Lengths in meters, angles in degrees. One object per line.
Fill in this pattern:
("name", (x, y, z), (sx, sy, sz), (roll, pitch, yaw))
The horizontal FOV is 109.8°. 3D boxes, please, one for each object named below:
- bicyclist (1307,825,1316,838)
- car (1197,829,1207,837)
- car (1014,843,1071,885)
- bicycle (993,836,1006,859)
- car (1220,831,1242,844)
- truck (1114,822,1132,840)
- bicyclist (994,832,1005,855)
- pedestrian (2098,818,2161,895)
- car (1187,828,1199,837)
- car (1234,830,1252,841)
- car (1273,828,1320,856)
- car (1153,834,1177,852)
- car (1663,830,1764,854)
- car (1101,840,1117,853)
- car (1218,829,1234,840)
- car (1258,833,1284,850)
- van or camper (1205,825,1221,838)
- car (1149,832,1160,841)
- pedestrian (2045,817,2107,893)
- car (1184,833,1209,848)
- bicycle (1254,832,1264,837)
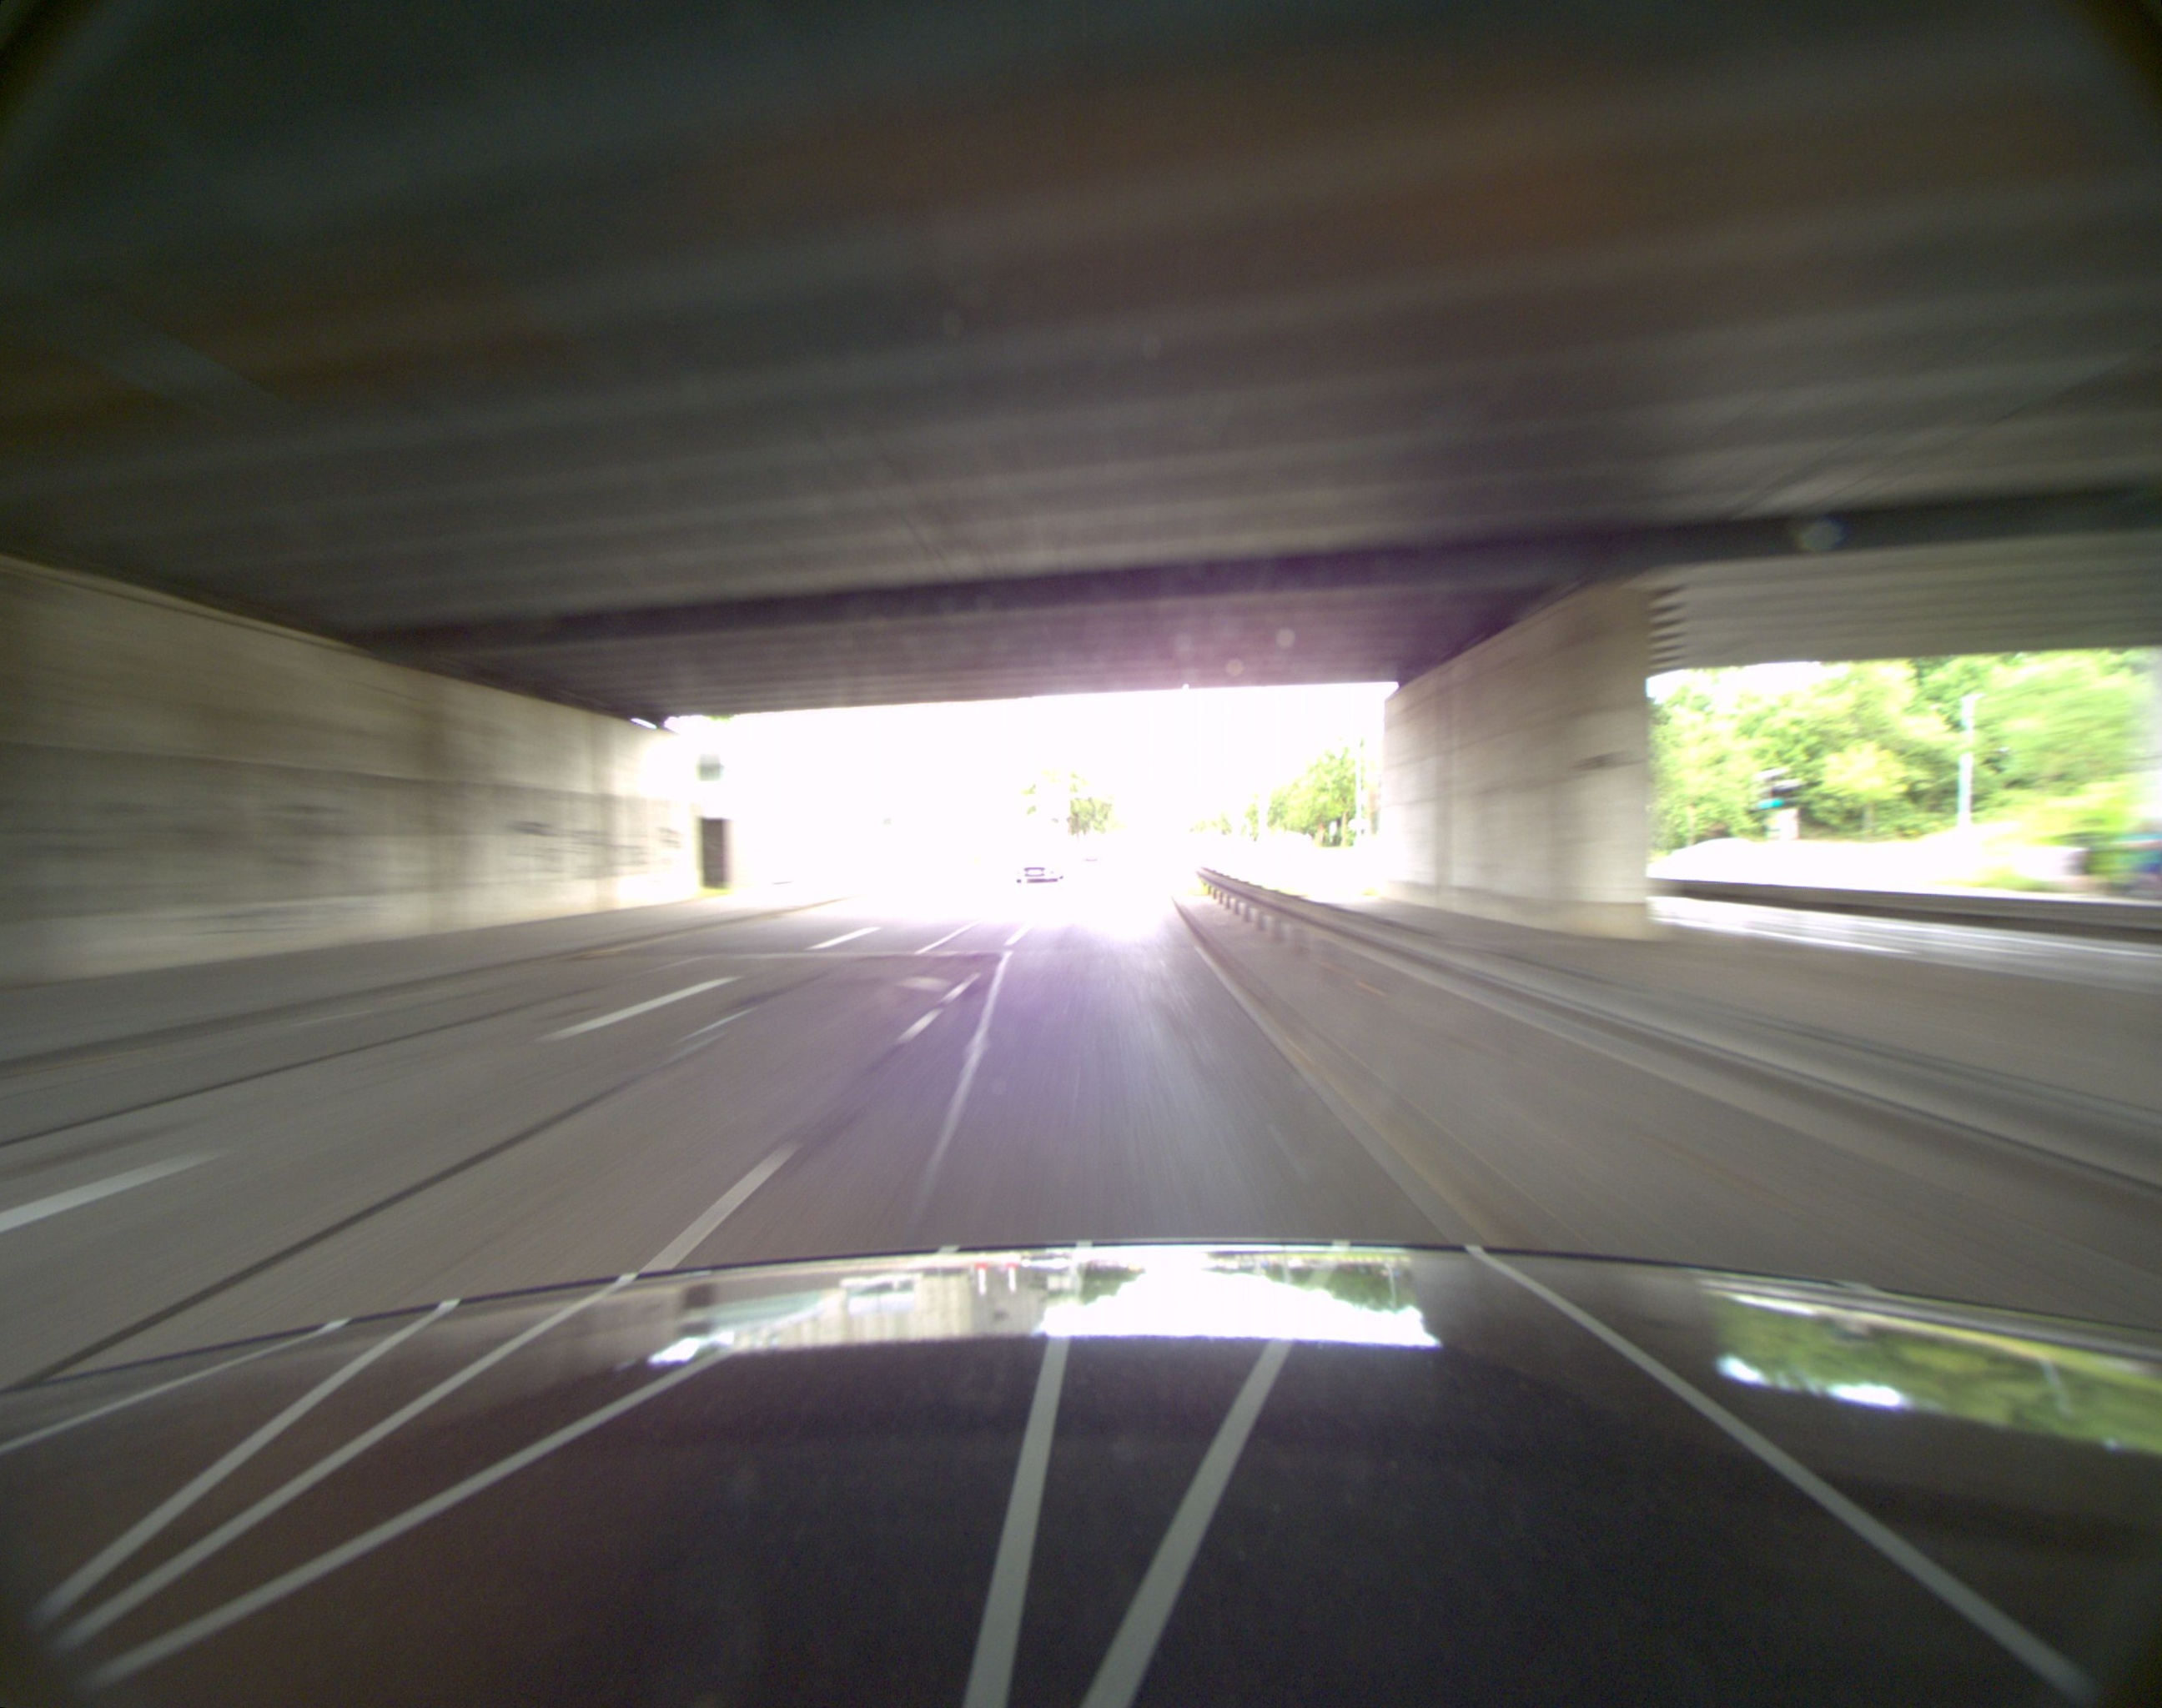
("bicyclist", (31.505, -3.078, 103.892), (0.894, 1.737, 0.997), (-2, 2, 8))
("car", (28.737, -5.057, 180.781), (1.998, 1.791, 4.409), (0, 2, 3))
("car", (-1.569, 0.366, 32.356), (1.823, 1.565, 3.954), (-3, 2, 5))
("bicycle", (-6.471, -0.556, 60.394), (0.721, 1.764, 2.533), (0, 2, 1))
("car", (17.075, -1.914, 86.558), (1.978, 1.381, 4.781), (0, 2, 5))
("truck", (7.703, -4.241, 138.971), (3.065, 3.096, 7.935), (0, 2, 5))
("bicyclist", (-6.483, -0.848, 60.239), (0.717, 1.759, 0.988), (-1, 2, 1))
("pedestrian", (22.646, 0.052, 16.403), (0.555, 1.616, 0.586), (-1, 2, 6))
("car", (25.341, -4.926, 171.904), (2.195, 1.953, 5.193), (0, 2, 3))
("car", (22.313, -2.587, 104.759), (1.930, 1.521, 4.000), (0, 3, 5))
("car", (14.294, -0.812, 50.629), (1.998, 1.749, 4.716), (-1, 2, 3))
("car", (7.430, -0.998, 67.723), (1.919, 1.407, 4.295), (-3, 1, 5))
("car", (38.816, -0.746, 46.740), (4.316, 1.371, 2.001), (0, 2, 11))
("car", (3.204, -0.866, 86.965), (1.712, 1.488, 3.650), (0, 2, 5))
("car", (23.342, -3.108, 122.087), (1.998, 1.756, 4.220), (-1, 1, 4))
("car", (19.236, -1.312, 77.039), (1.810, 1.623, 4.392), (-1, 2, 5))
("van or camper", (25.879, -4.452, 149.336), (2.357, 2.525, 7.063), (-2, 2, 4))
("car", (12.273, -2.877, 127.048), (1.782, 1.488, 3.598), (0, 2, 5))
("pedestrian", (22.325, 0.026, 17.057), (0.592, 1.671, 0.556), (-1, 2, 2))
("car", (11.055, -1.325, 73.215), (1.998, 1.407, 4.832), (-2, 2, 5))
("bicycle", (38.185, -4.103, 162.833), (0.665, 1.009, 2.143), (-2, 3, -40))
